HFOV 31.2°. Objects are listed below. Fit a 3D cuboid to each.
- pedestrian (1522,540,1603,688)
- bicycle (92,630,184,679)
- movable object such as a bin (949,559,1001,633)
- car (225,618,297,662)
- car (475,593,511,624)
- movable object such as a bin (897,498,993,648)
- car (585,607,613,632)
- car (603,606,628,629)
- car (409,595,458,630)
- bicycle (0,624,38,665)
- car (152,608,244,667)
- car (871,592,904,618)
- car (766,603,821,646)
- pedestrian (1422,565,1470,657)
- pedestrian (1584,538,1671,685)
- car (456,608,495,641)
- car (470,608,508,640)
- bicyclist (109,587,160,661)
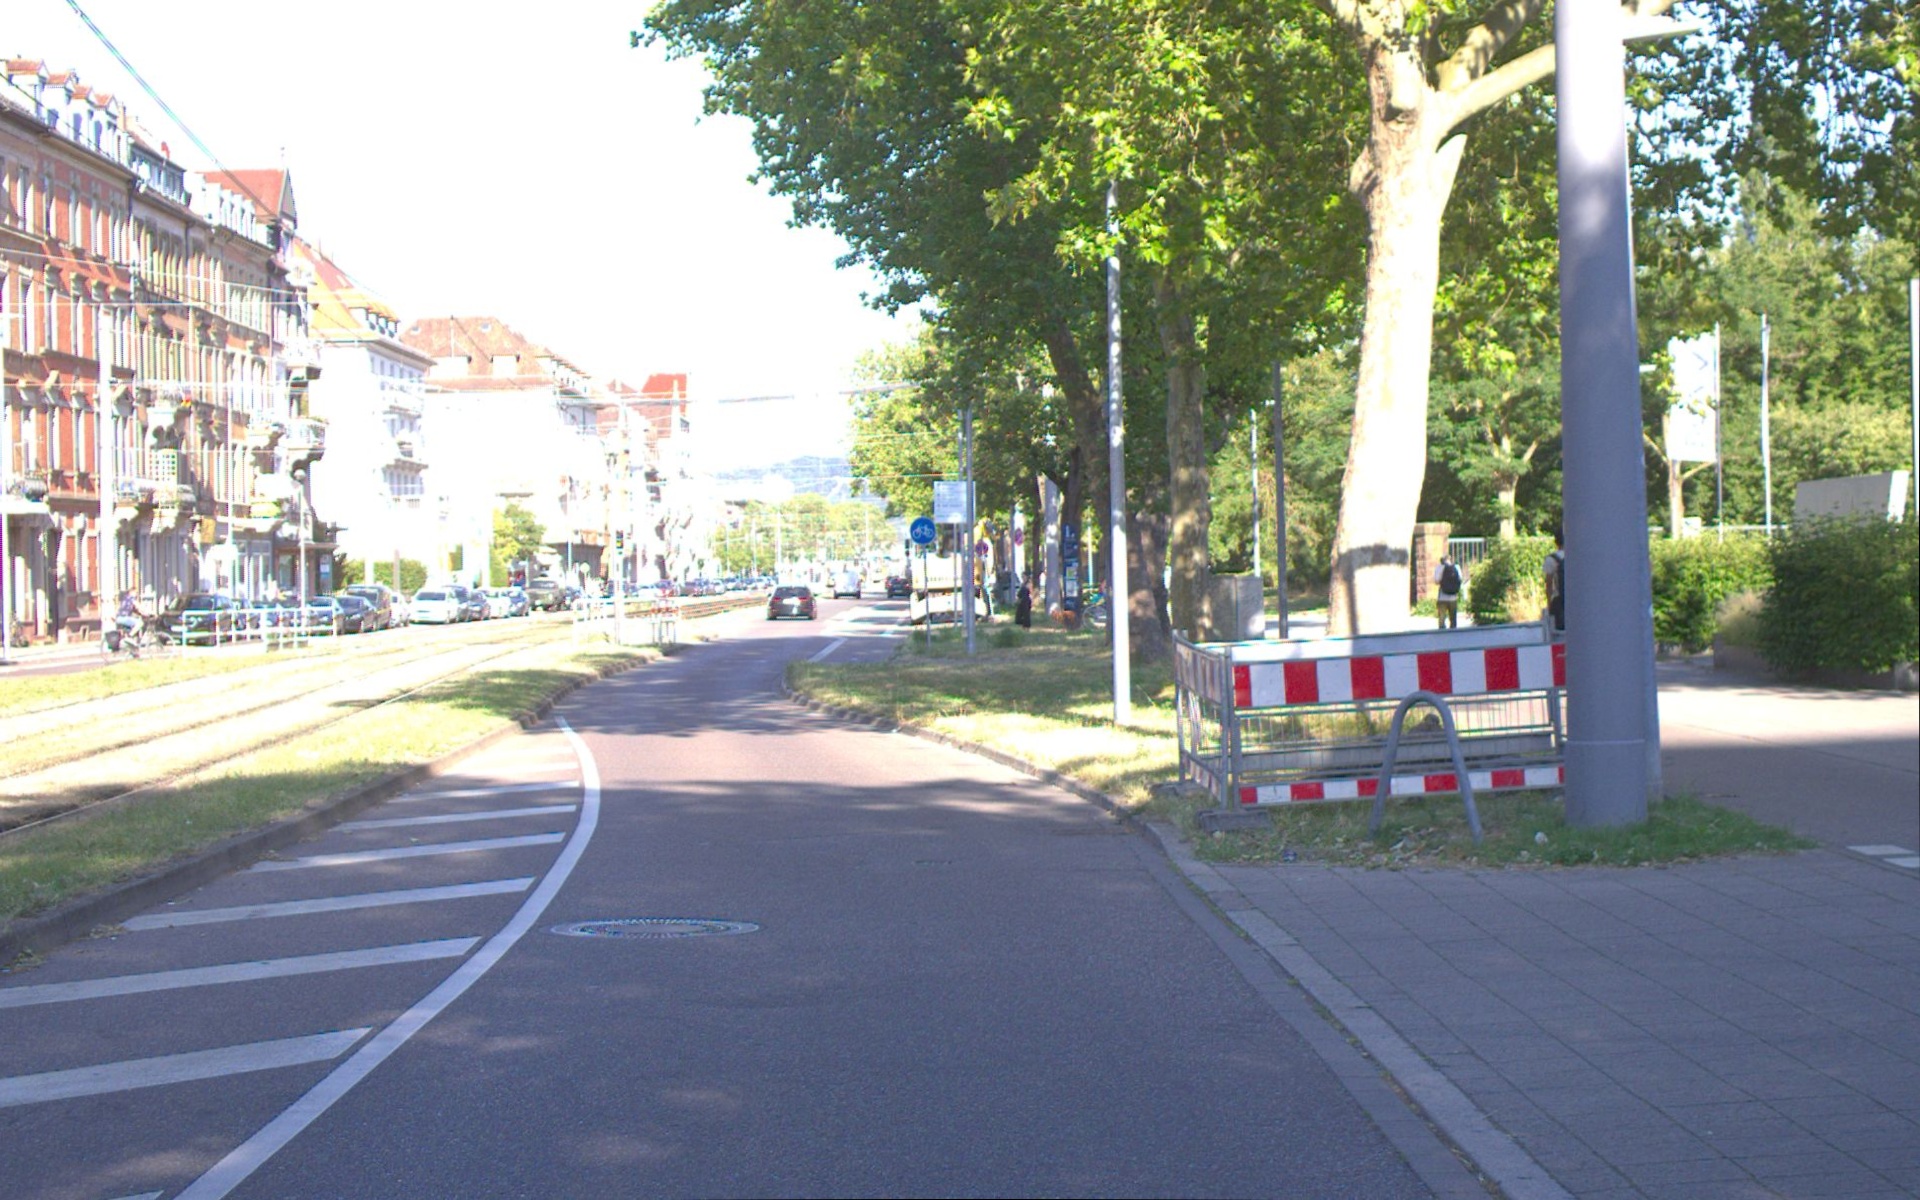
[{"bbox_3d":[7.512,0.173,42.899,0.750,1.787,1.086,-2,0,0],"label":"pedestrian"},{"bbox_3d":[-19.582,1.297,81.938,1.953,1.037,0.766,-3,3,-35],"label":"bicycle"},{"bbox_3d":[0.641,-0.156,147.628,1.968,3.003,4.796,-4,0,-1],"label":"movable object such as a bin"},{"bbox_3d":[-24.592,1.409,121.008,1.776,1.401,3.909,1,1,-1],"label":"car"},{"bbox_3d":[-24.763,0.423,182.361,1.527,1.555,3.223,1,1,-1],"label":"car"},{"bbox_3d":[-0.590,-0.946,125.460,3.087,5.071,8.892,-4,0,-1],"label":"movable object such as a bin"},{"bbox_3d":[-23.874,1.278,227.373,1.527,1.555,3.223,1,1,-1],"label":"car"},{"bbox_3d":[-25.042,1.263,250.165,1.527,1.555,3.223,1,1,-1],"label":"car"},{"bbox_3d":[-24.743,0.589,161.573,1.741,1.555,3.768,1,1,-1],"label":"car"},{"bbox_3d":[-28.139,1.328,102.751,0.699,1.176,1.751,1,0,0],"label":"bicycle"},{"bbox_3d":[-24.654,1.207,111.332,2.015,1.748,4.558,1,1,-1],"label":"car"},{"bbox_3d":[-5.346,0.338,253.611,1.993,1.853,4.001,1,0,-7],"label":"car"},{"bbox_3d":[-6.708,0.982,138.793,1.993,1.678,4.000,1,0,0],"label":"car"},{"bbox_3d":[8.296,0.189,58.752,0.650,1.534,0.783,-2,0,0],"label":"pedestrian"},{"bbox_3d":[8.363,0.138,43.088,0.805,1.787,1.110,-2,0,0],"label":"pedestrian"},{"bbox_3d":[-24.211,1.234,171.884,1.527,1.555,3.223,1,1,-1],"label":"car"},{"bbox_3d":[-24.429,1.243,178.420,1.527,1.555,3.223,1,1,-1],"label":"car"},{"bbox_3d":[-19.660,0.565,81.836,0.919,1.709,0.766,-3,3,-35],"label":"bicyclist"}]
